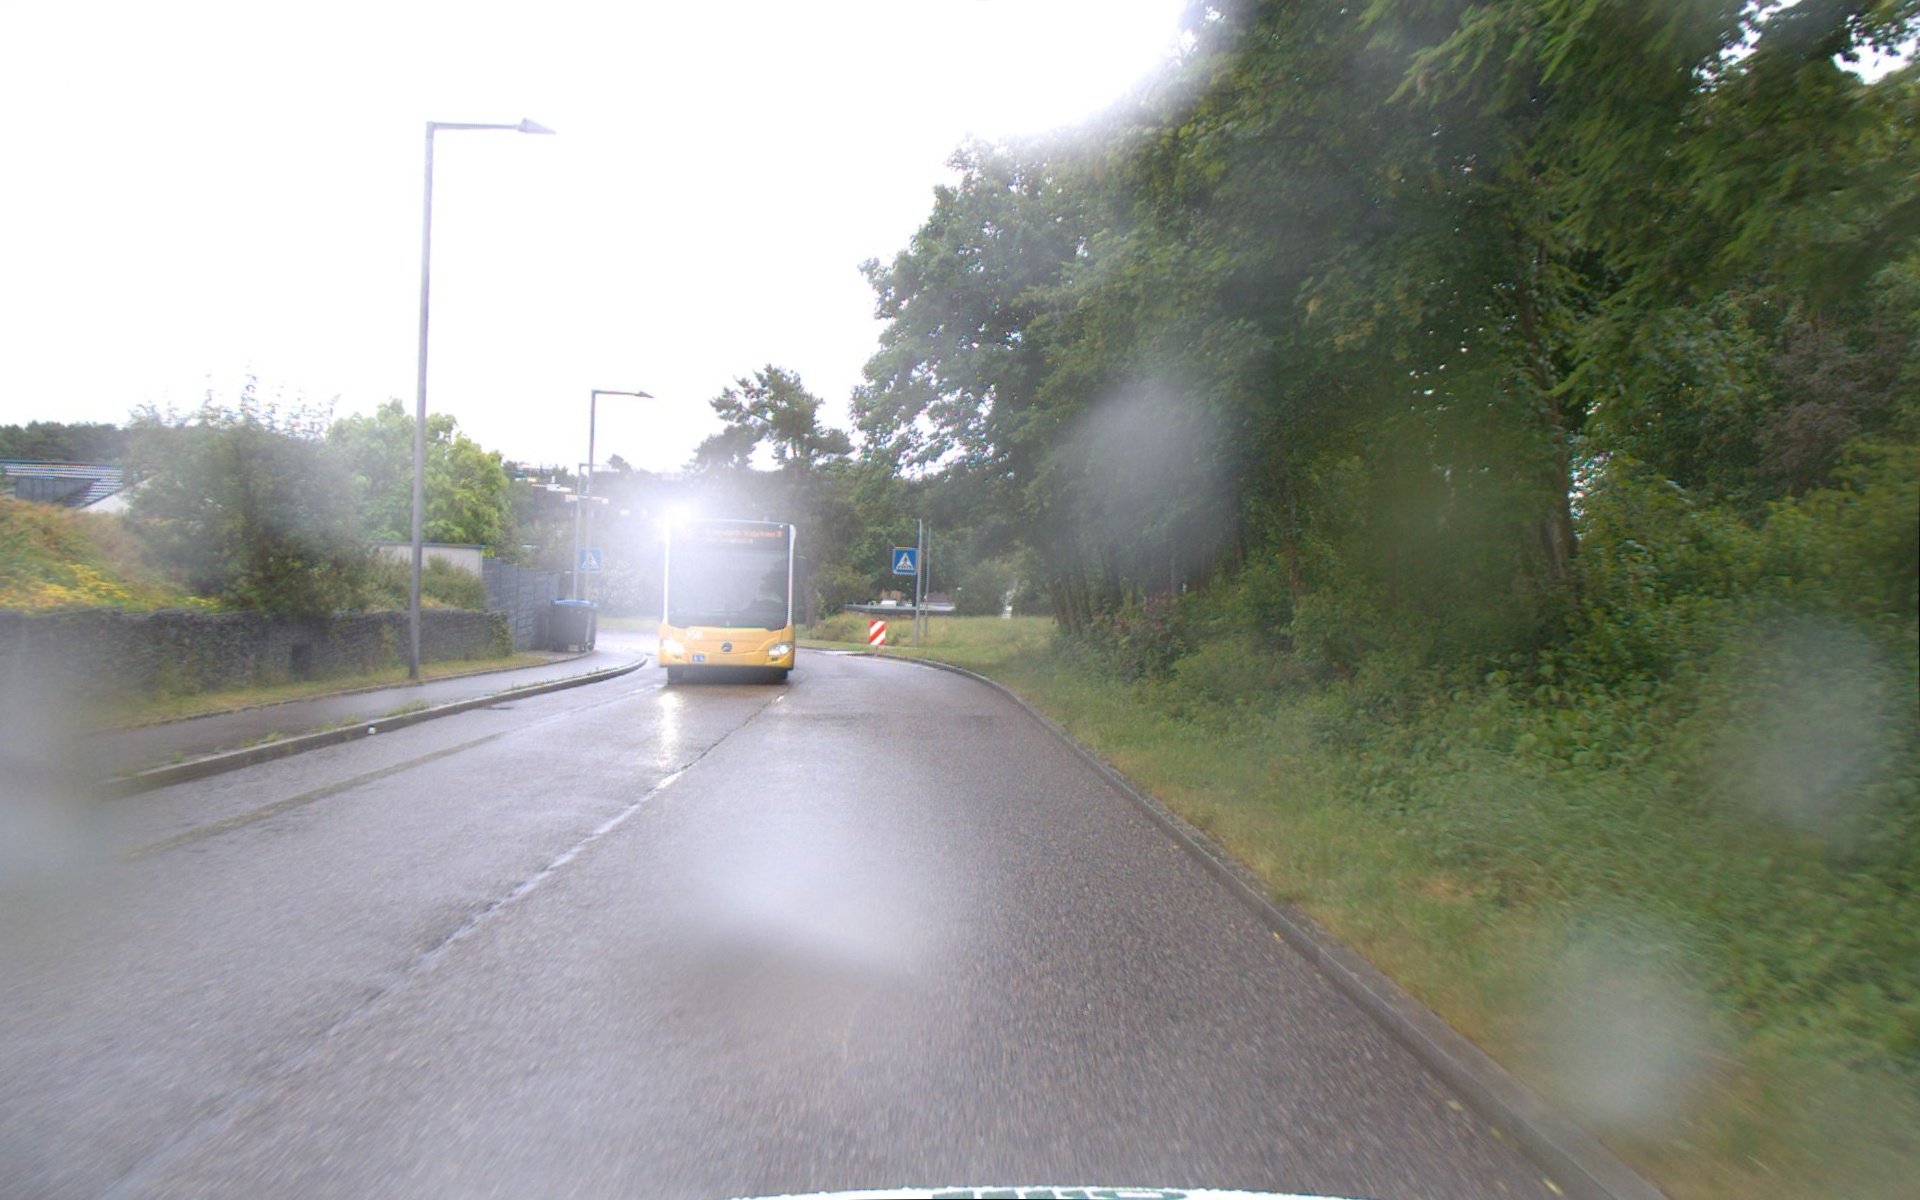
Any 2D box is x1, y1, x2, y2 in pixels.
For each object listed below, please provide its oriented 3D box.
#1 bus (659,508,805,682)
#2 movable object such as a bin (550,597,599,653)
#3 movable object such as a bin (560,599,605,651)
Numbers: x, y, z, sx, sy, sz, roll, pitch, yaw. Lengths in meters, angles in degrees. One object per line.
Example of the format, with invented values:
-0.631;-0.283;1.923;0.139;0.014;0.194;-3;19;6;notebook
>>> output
-4.867;-0.038;35.351;2.590;3.121;10.835;1;-1;-8;bus
-10.186;0.651;43.764;1.111;1.362;1.394;4;-1;-12;movable object such as a bin
-10.727;0.704;47.091;1.111;1.345;1.358;5;-1;-12;movable object such as a bin
